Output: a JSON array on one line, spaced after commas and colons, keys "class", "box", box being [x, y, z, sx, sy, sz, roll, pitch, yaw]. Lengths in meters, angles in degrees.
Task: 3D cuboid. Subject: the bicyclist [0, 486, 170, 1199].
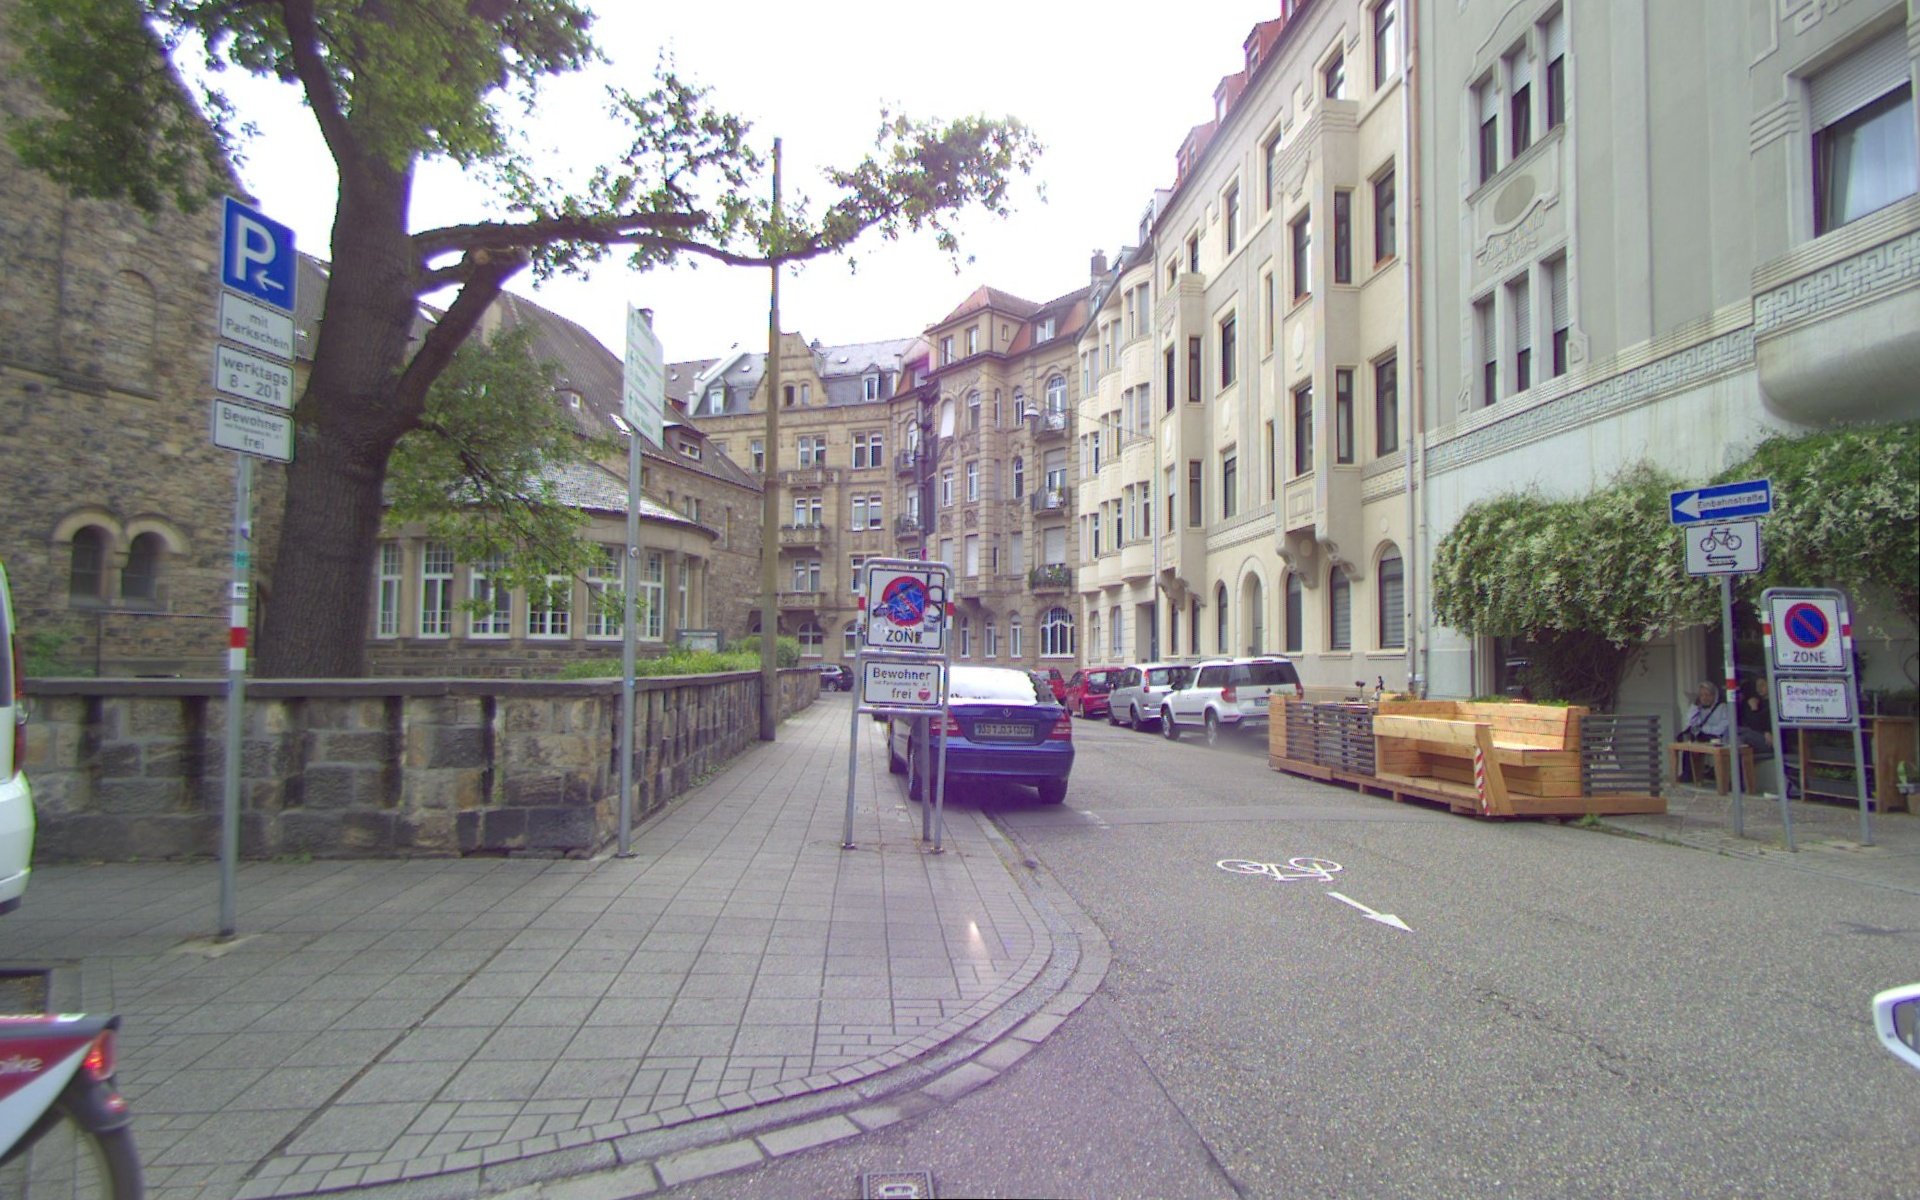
[{"class": "bicyclist", "box": [-2.159, 0.498, 1.961, 0.773, 1.417, 0.666, 3, -3, -27]}]

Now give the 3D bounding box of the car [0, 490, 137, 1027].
[{"class": "car", "box": [-5.718, 0.544, 3.206, 4.460, 1.965, 1.849, 1, -3, -4]}]

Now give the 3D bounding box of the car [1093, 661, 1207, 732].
[{"class": "car", "box": [4.665, 2.387, 25.233, 1.667, 1.577, 3.828, -1, -4, -7]}]

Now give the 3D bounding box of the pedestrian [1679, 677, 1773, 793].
[{"class": "pedestrian", "box": [8.403, 1.465, 11.036, 0.544, 1.213, 0.580, 0, -3, -6]}]

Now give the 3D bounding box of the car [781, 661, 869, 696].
[{"class": "car", "box": [-6.754, 3.906, 50.349, 3.992, 1.627, 1.769, 0, -4, 22]}]

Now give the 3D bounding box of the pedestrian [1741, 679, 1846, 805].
[{"class": "pedestrian", "box": [8.454, 1.424, 10.205, 0.544, 1.213, 0.580, 0, -3, -6]}]

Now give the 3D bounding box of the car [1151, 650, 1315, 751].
[{"class": "car", "box": [5.259, 1.938, 19.897, 1.735, 1.739, 3.828, -1, -4, -7]}]

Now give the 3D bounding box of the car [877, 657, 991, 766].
[{"class": "car", "box": [-0.503, 1.695, 16.049, 1.444, 1.502, 3.361, 2, -3, -7]}]

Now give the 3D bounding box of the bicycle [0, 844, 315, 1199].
[{"class": "bicycle", "box": [-2.370, 1.027, 1.873, 1.835, 0.990, 0.535, 3, -3, -17]}]

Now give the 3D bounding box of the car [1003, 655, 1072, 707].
[{"class": "car", "box": [3.059, 3.242, 40.563, 2.008, 1.911, 4.580, -2, -4, -5]}]

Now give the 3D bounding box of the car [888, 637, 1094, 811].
[{"class": "car", "box": [0.165, 1.324, 11.605, 1.736, 1.627, 4.068, 2, -4, -7]}]

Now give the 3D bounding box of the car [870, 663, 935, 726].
[{"class": "car", "box": [-1.580, 2.471, 26.760, 1.444, 1.502, 3.361, 2, -3, -7]}]

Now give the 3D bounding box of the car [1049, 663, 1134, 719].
[{"class": "car", "box": [4.025, 2.820, 31.432, 1.667, 1.577, 3.828, -1, -4, -7]}]

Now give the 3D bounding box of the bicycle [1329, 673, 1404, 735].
[{"class": "bicycle", "box": [7.818, 1.982, 19.403, 0.710, 1.112, 1.748, 1, -3, -1]}]
